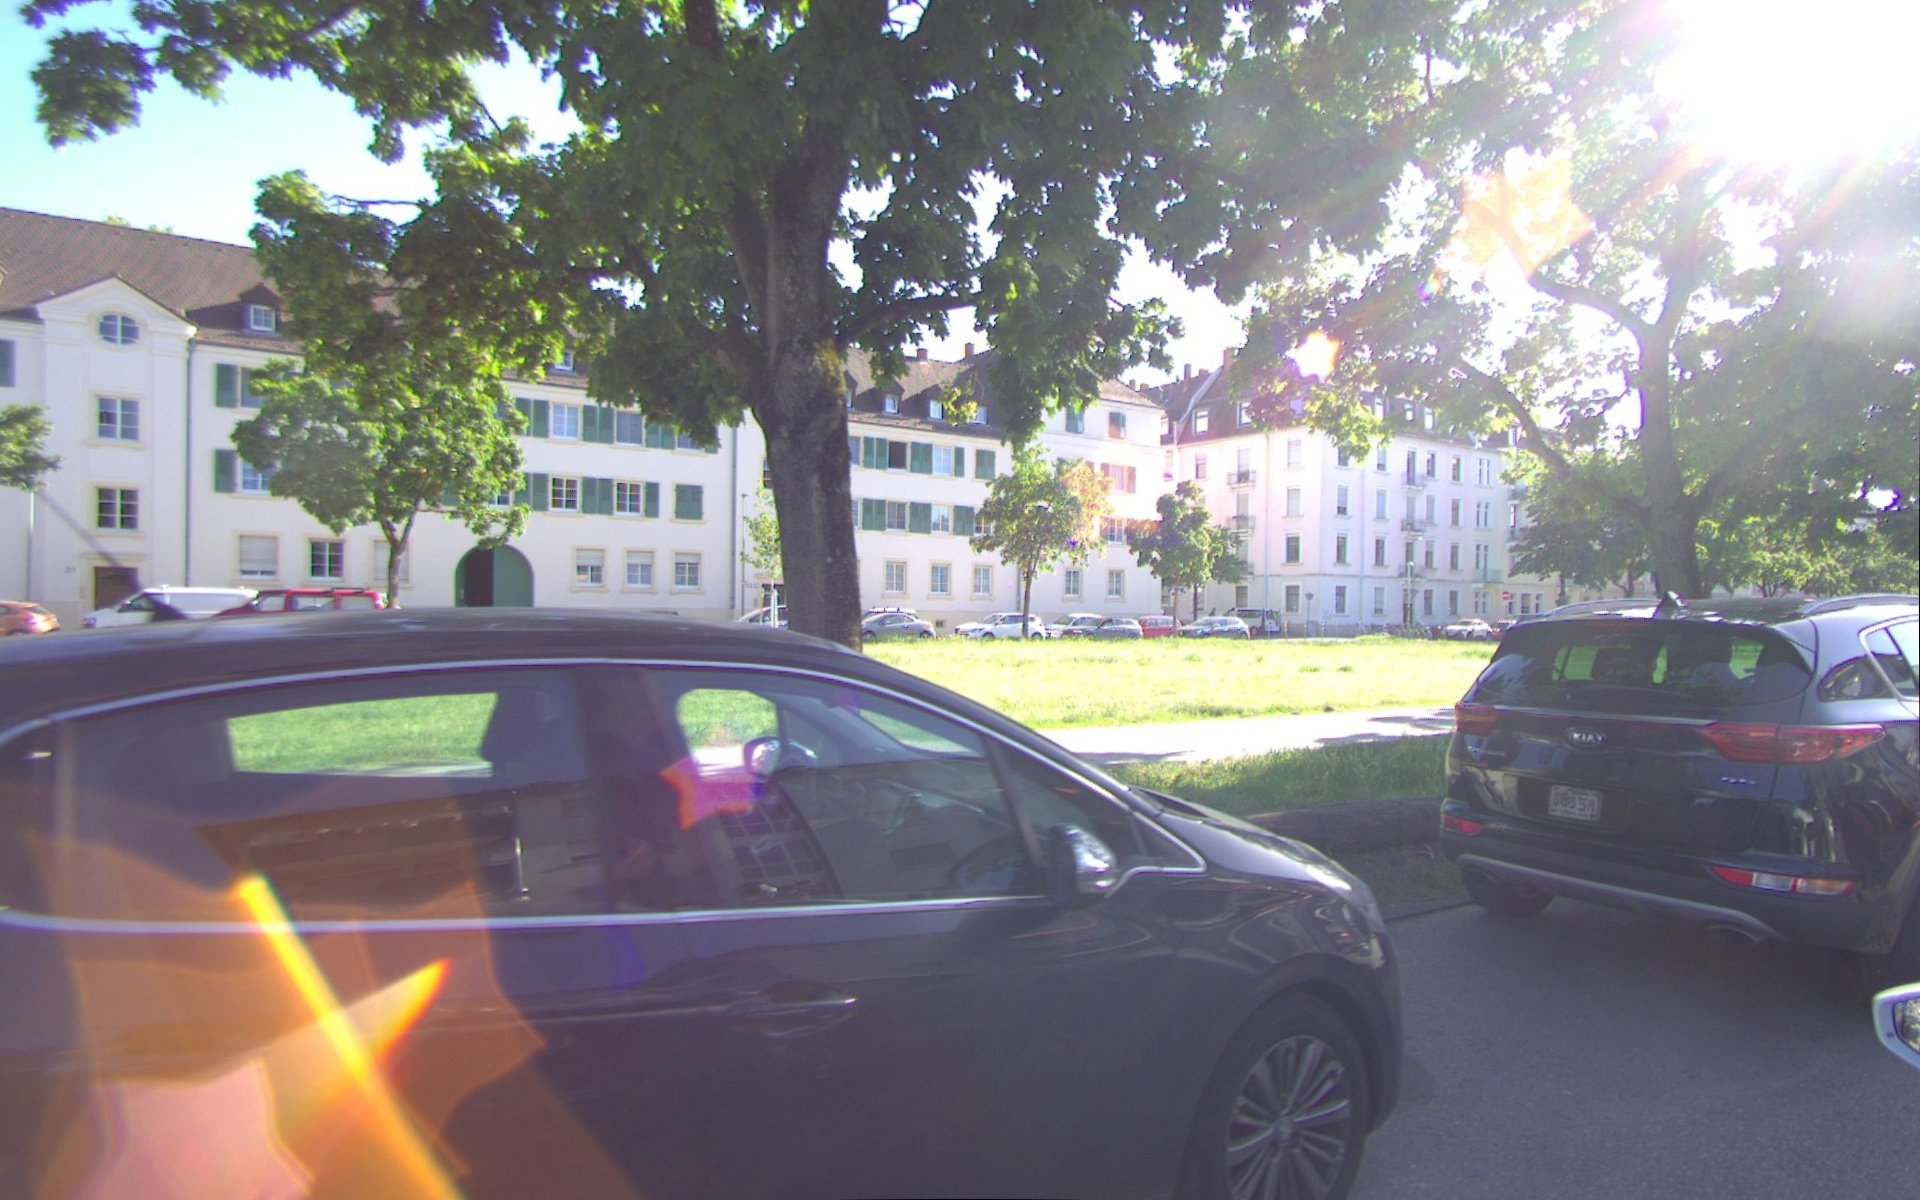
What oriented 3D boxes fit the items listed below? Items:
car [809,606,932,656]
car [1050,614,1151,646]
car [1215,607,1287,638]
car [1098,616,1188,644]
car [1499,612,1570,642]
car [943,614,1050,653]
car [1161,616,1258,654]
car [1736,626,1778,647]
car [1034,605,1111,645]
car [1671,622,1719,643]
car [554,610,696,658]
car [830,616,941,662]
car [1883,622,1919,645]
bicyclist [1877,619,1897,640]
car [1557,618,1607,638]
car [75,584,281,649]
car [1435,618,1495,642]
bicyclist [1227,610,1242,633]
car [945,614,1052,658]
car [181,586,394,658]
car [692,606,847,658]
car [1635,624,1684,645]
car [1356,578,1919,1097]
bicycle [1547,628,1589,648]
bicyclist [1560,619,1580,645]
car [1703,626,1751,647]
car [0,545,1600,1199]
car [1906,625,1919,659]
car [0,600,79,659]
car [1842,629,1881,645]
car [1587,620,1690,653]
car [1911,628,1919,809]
[{"bbox_3d":[-4.195,1.432,47.333,5.201,2.245,2.516,1,0,-33],"label":"car"},{"bbox_3d":[7.068,1.505,50.458,4.903,1.504,1.983,1,-1,-32],"label":"car"},{"bbox_3d":[20.248,1.524,70.023,2.118,2.040,4.534,1,0,-34],"label":"car"},{"bbox_3d":[10.211,1.672,55.910,4.903,1.504,1.983,1,-1,-32],"label":"car"},{"bbox_3d":[38.330,1.782,66.994,5.045,1.897,2.069,1,0,-34],"label":"car"},{"bbox_3d":[1.867,1.686,51.009,5.100,1.911,2.142,1,0,-31],"label":"car"},{"bbox_3d":[12.693,1.760,51.026,4.654,1.844,2.145,1,0,-33],"label":"car"},{"bbox_3d":[66.909,3.058,84.327,4.038,1.709,1.622,1,0,-34],"label":"car"},{"bbox_3d":[6.002,1.343,53.371,3.853,2.040,1.656,2,-1,-32],"label":"car"},{"bbox_3d":[57.150,2.522,78.055,4.309,1.570,1.622,1,0,-34],"label":"car"},{"bbox_3d":[-13.756,1.361,41.296,5.195,1.844,2.439,1,0,-30],"label":"car"},{"bbox_3d":[-3.073,1.580,41.347,3.961,1.773,2.307,1,0,-30],"label":"car"},{"bbox_3d":[95.806,3.406,102.180,4.956,2.243,1.684,1,-1,-34],"label":"car"},{"bbox_3d":[83.703,2.703,90.683,1.433,1.861,0.936,2,-2,-31],"label":"bicyclist"},{"bbox_3d":[43.033,1.922,69.474,3.489,1.296,1.684,1,0,-34],"label":"car"},{"bbox_3d":[-25.887,0.563,33.557,5.202,2.011,2.207,1,0,-33],"label":"car"},{"bbox_3d":[36.120,2.151,71.820,4.408,1.608,1.980,1,0,-35],"label":"car"},{"bbox_3d":[16.788,1.340,61.496,0.778,1.382,0.528,1,0,-38],"label":"bicyclist"},{"bbox_3d":[1.707,1.571,44.303,4.212,1.844,2.223,1,0,-33],"label":"car"},{"bbox_3d":[-20.328,0.662,30.648,5.202,2.011,2.207,1,0,-33],"label":"car"},{"bbox_3d":[-7.330,1.217,38.729,5.388,1.844,2.439,1,0,-30],"label":"car"},{"bbox_3d":[52.556,2.581,75.443,4.038,1.547,1.684,1,0,-34],"label":"car"},{"bbox_3d":[4.484,0.822,5.267,4.701,1.647,2.017,1,-2,-30],"label":"car"},{"bbox_3d":[33.706,2.080,55.711,1.946,1.030,0.657,1,0,30],"label":"bicycle"},{"bbox_3d":[33.792,1.775,55.662,0.861,1.382,0.623,1,3,27],"label":"bicyclist"},{"bbox_3d":[62.219,2.948,81.476,4.480,1.570,1.746,1,0,-34],"label":"car"},{"bbox_3d":[-0.433,0.715,2.448,3.759,1.437,1.871,2,-2,-30],"label":"car"},{"bbox_3d":[44.337,1.892,43.780,4.277,1.428,1.914,1,1,36],"label":"car"},{"bbox_3d":[-30.284,0.877,30.816,4.595,1.787,1.982,1,-1,-33],"label":"car"},{"bbox_3d":[87.059,3.560,97.002,3.731,1.459,1.837,1,0,-31],"label":"car"},{"bbox_3d":[34.516,1.828,51.171,4.277,1.597,1.923,0,-1,36],"label":"car"},{"bbox_3d":[9.792,0.986,8.459,4.039,1.447,1.531,1,-1,-30],"label":"car"}]
